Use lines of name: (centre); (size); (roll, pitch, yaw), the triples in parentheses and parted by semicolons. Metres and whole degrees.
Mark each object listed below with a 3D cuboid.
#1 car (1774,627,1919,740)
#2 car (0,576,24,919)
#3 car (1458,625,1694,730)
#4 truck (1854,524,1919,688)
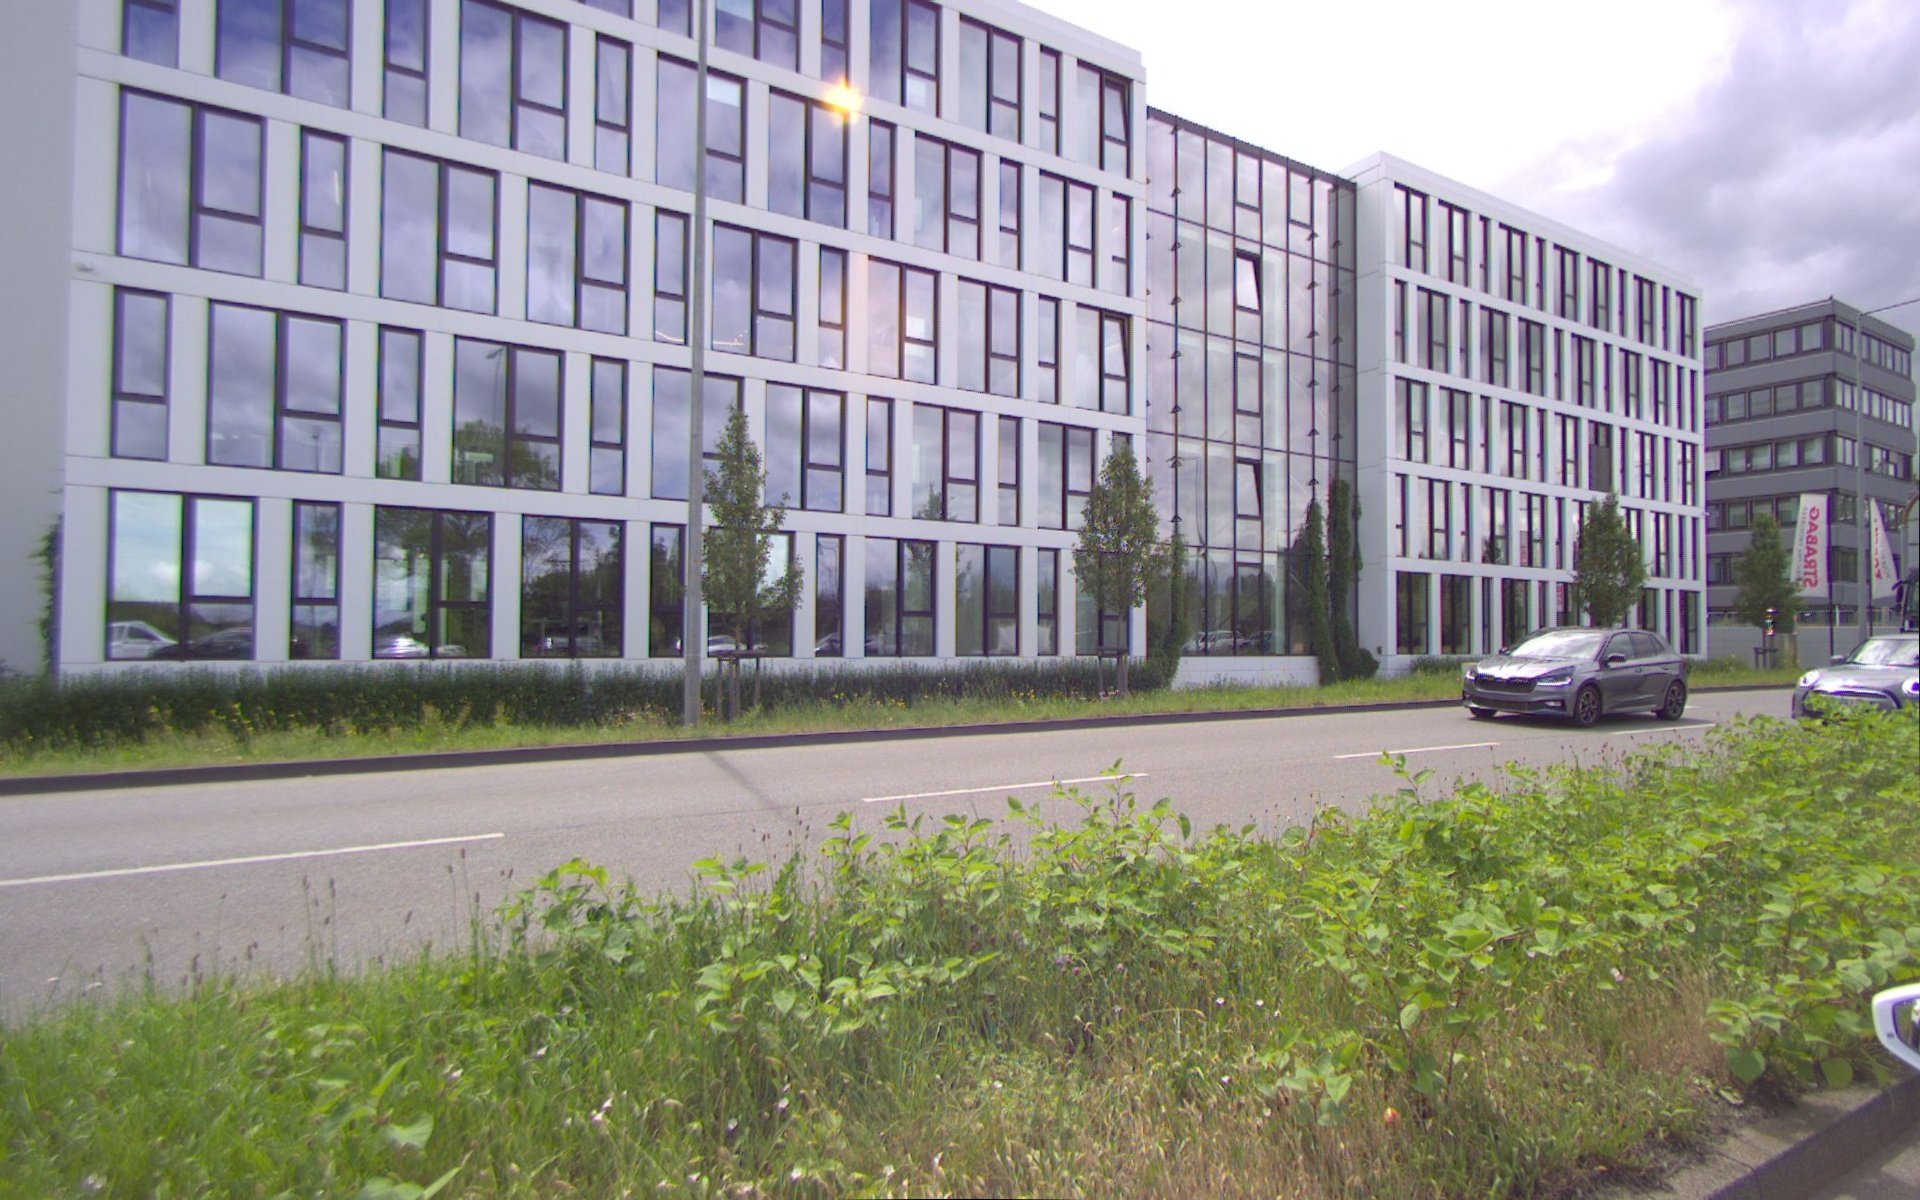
car: (13.622, 1.124, 14.354); (3.585, 1.449, 1.685); (1, -2, -24)
car: (-5.937, 0.634, 3.189); (3.996, 1.623, 1.688); (2, -2, -30)
car: (9.611, 1.122, 15.610); (3.735, 1.401, 1.546); (0, 1, -30)
truck: (25.520, 0.237, 21.375); (9.332, 3.565, 3.180); (1, 1, 10)
